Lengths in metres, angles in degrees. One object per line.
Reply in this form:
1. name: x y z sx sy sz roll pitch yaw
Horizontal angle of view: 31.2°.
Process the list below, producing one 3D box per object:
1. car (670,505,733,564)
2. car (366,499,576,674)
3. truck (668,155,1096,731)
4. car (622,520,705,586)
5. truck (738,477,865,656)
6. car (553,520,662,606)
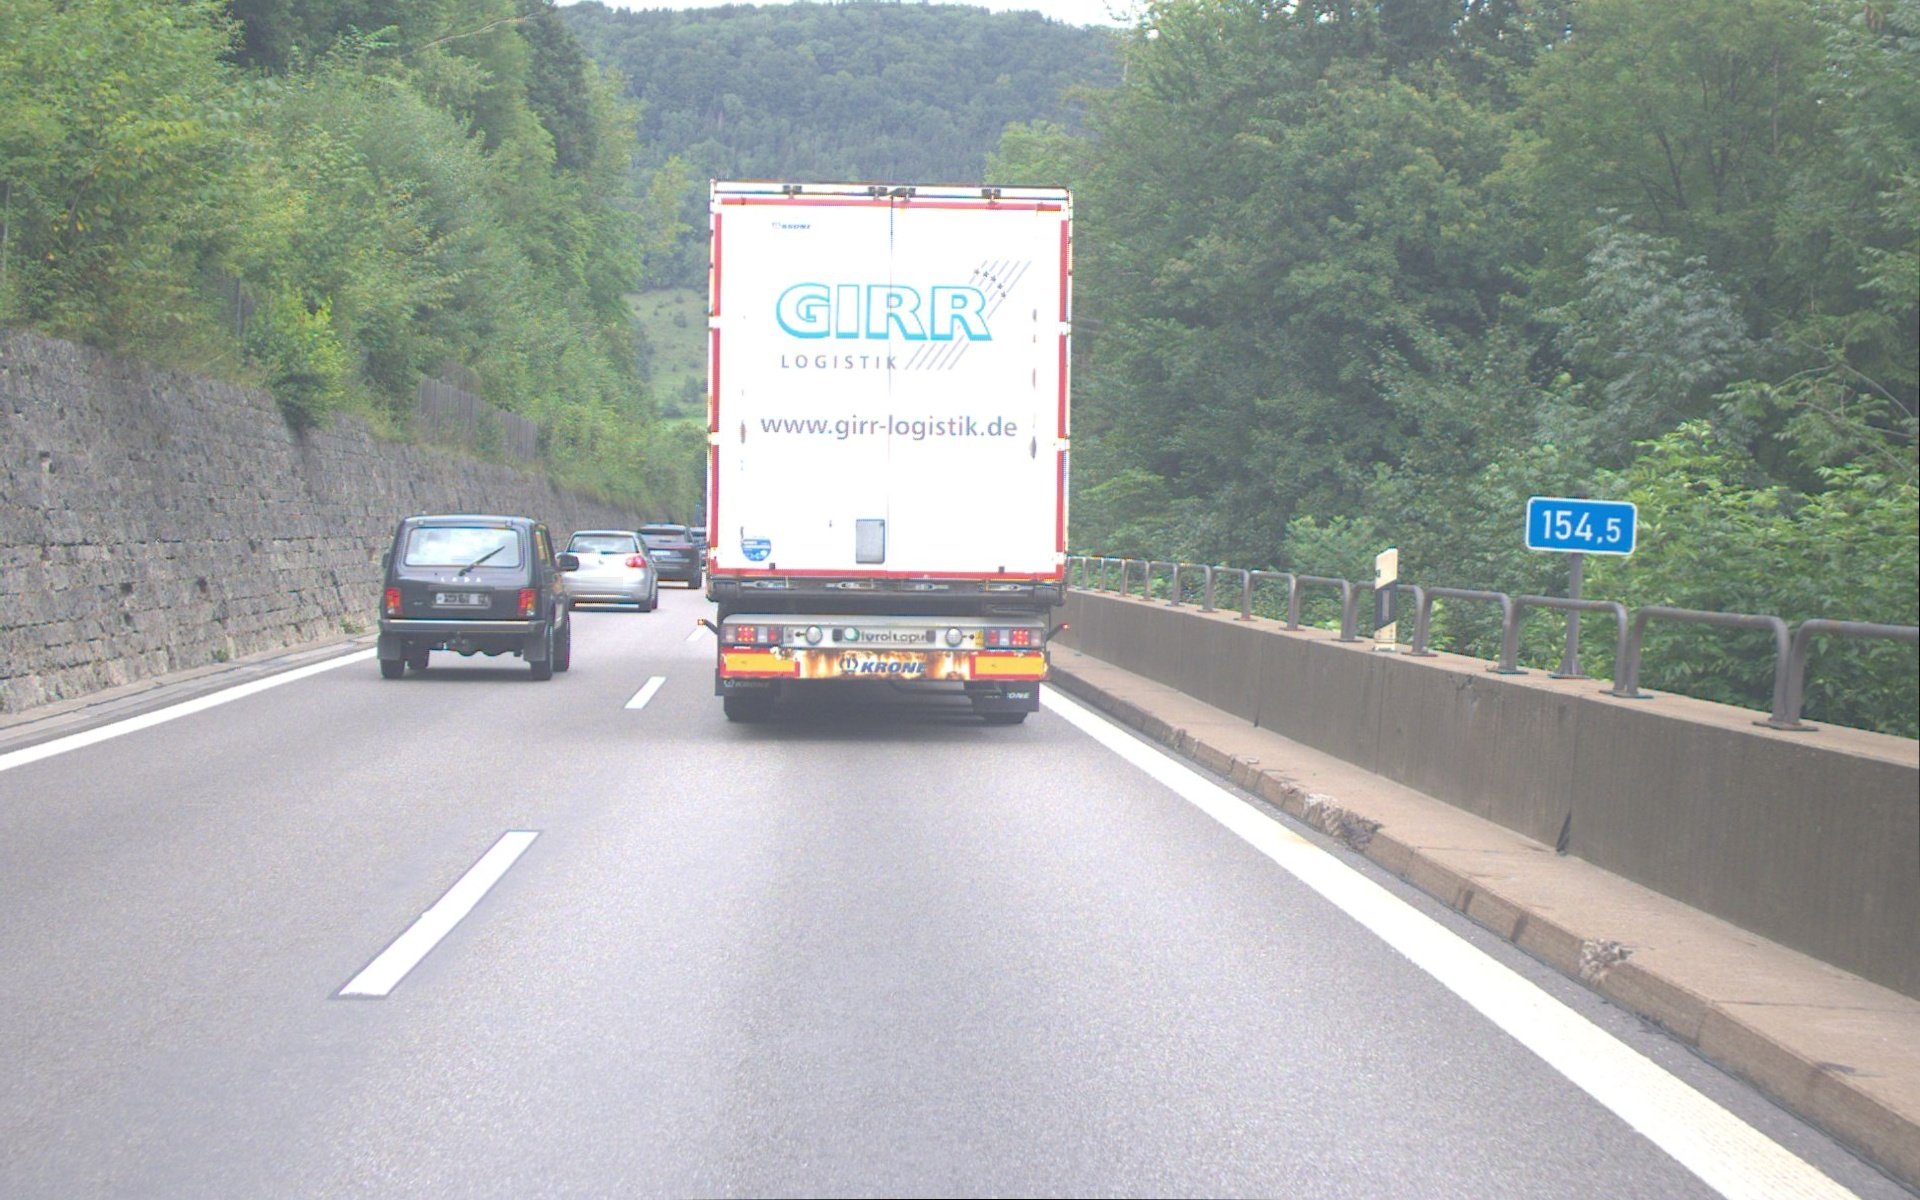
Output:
1. car: -9.209 -2.323 122.698 1.993 2.007 4.000 2 0 -1
2. car: -4.864 -0.153 34.633 1.669 1.633 4.068 1 1 -2
3. truck: -0.696 -1.156 28.507 2.908 3.947 9.280 1 1 -2
4. car: -7.498 -1.181 87.167 1.916 1.589 4.179 1 1 -3
5. truck: -3.438 -0.725 73.803 2.486 3.559 9.310 1 1 -3
6. car: -6.388 -0.677 62.596 1.729 1.481 4.000 1 1 -3
